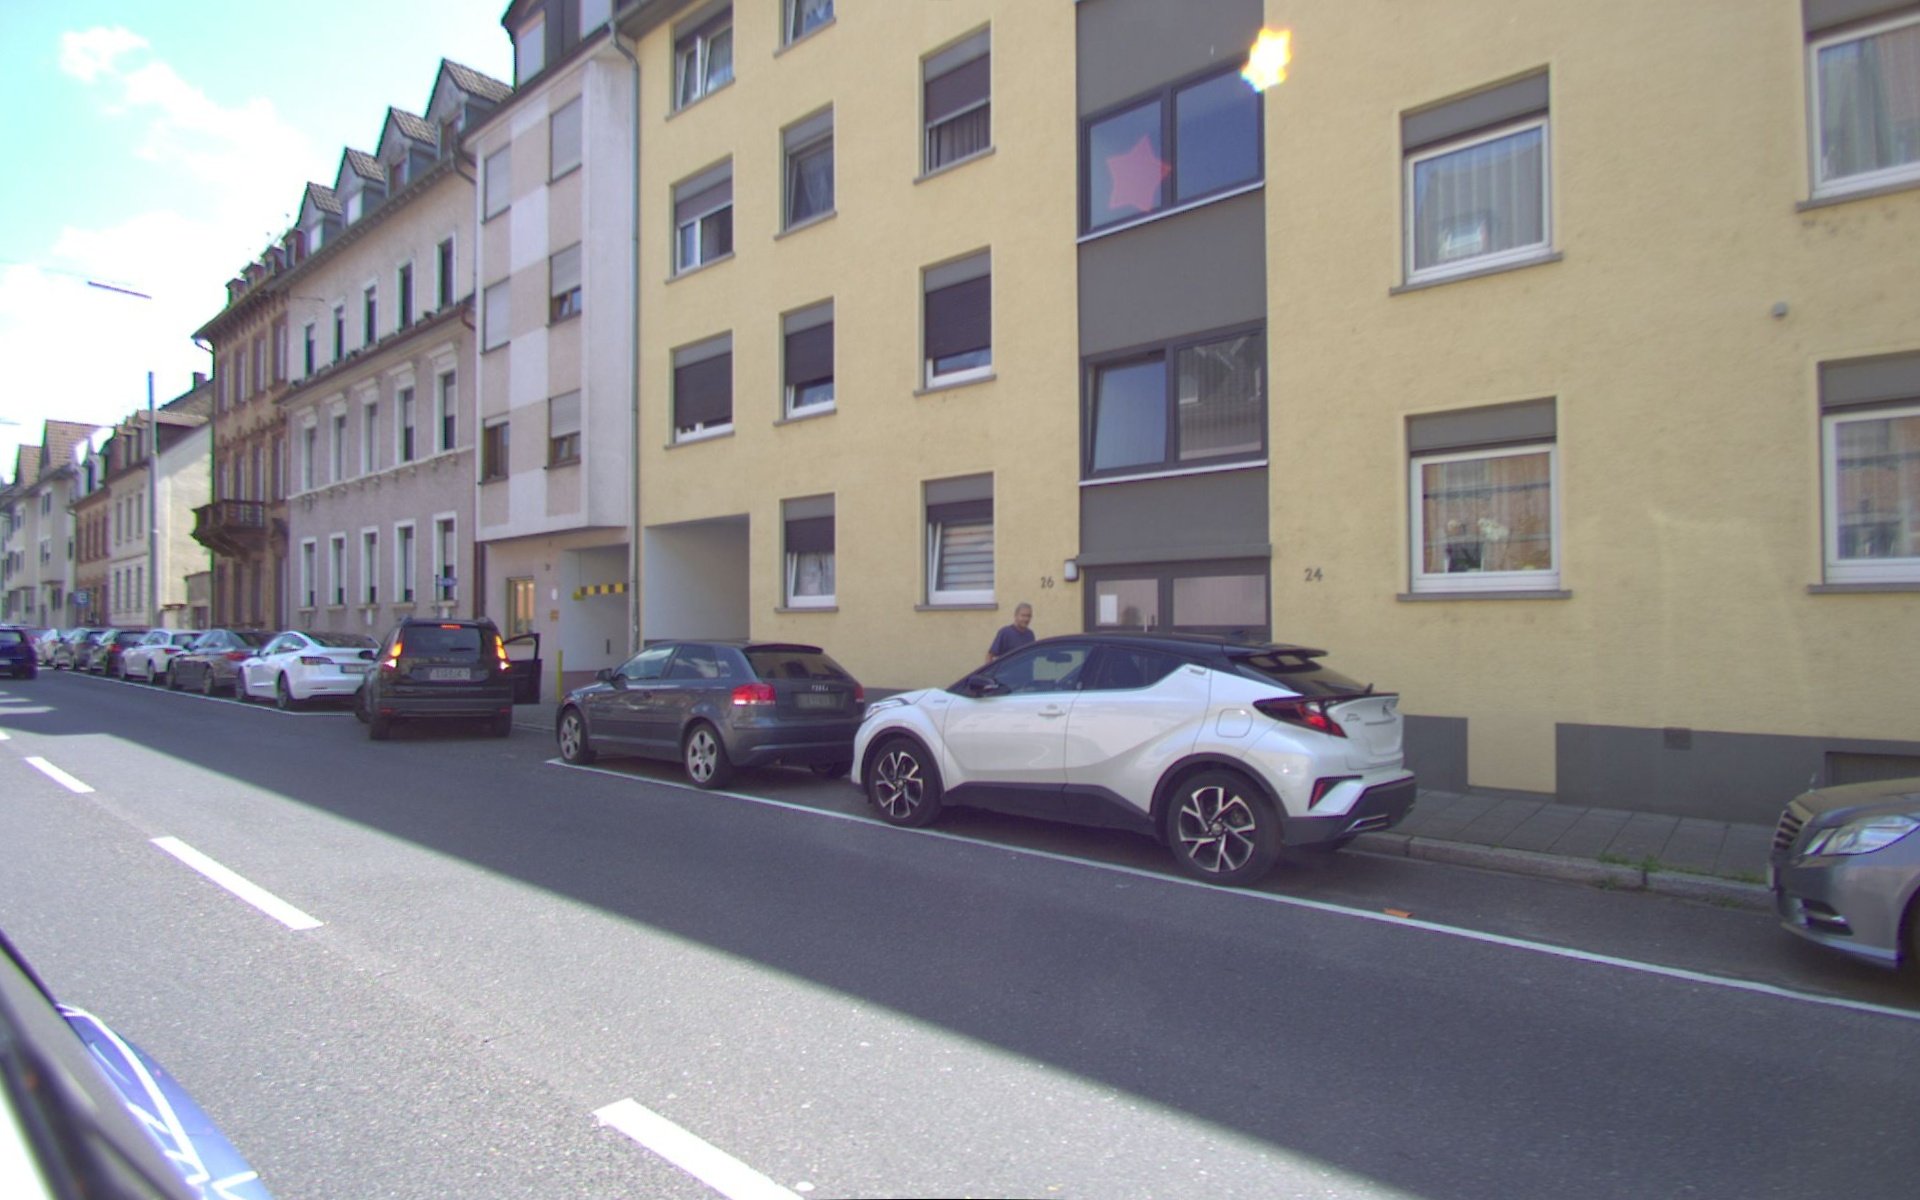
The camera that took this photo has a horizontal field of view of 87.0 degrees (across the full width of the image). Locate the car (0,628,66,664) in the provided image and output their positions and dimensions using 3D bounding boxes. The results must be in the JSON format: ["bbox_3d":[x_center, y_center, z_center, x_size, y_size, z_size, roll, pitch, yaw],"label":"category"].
[{"bbox_3d":[-39.329,1.923,42.661,4.098,1.422,1.644,-1,-5,38],"label":"car"}]

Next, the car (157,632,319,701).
[{"bbox_3d":[-16.317,1.469,22.793,4.508,1.422,1.727,-1,-5,39],"label":"car"}]

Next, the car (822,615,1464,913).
[{"bbox_3d":[1.139,0.972,7.465,4.311,1.563,1.845,-2,-5,41],"label":"car"}]

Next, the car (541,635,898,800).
[{"bbox_3d":[-2.657,1.124,10.714,3.914,1.422,1.726,-2,-5,42],"label":"car"}]

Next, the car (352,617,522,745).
[{"bbox_3d":[-7.742,1.143,14.802,1.721,1.600,3.963,4,-5,-33],"label":"car"}]

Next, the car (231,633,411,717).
[{"bbox_3d":[-12.225,1.381,19.254,4.283,1.422,1.726,-2,-5,42],"label":"car"}]

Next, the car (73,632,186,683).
[{"bbox_3d":[-25.252,1.727,30.747,4.098,1.422,1.728,-1,-5,38],"label":"car"}]

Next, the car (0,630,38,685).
[{"bbox_3d":[-27.017,1.550,27.965,3.998,1.444,1.786,-2,-4,41],"label":"car"}]

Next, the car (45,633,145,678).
[{"bbox_3d":[-29.403,1.871,34.351,4.098,1.422,1.728,-1,-5,38],"label":"car"}]

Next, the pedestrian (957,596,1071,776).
[{"bbox_3d":[0.557,0.864,10.569,0.793,1.769,0.877,1,-2,-41],"label":"pedestrian"}]

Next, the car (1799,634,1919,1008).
[{"bbox_3d":[5.893,0.892,3.392,4.684,1.463,1.885,-2,-5,41],"label":"car"}]

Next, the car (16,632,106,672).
[{"bbox_3d":[-33.786,1.940,38.012,4.098,1.422,1.728,-1,-5,38],"label":"car"}]

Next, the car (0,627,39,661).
[{"bbox_3d":[-43.186,1.969,45.701,4.098,1.422,1.644,-1,-5,38],"label":"car"}]

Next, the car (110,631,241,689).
[{"bbox_3d":[-21.018,1.590,27.066,4.098,1.422,1.728,-1,-5,38],"label":"car"}]
